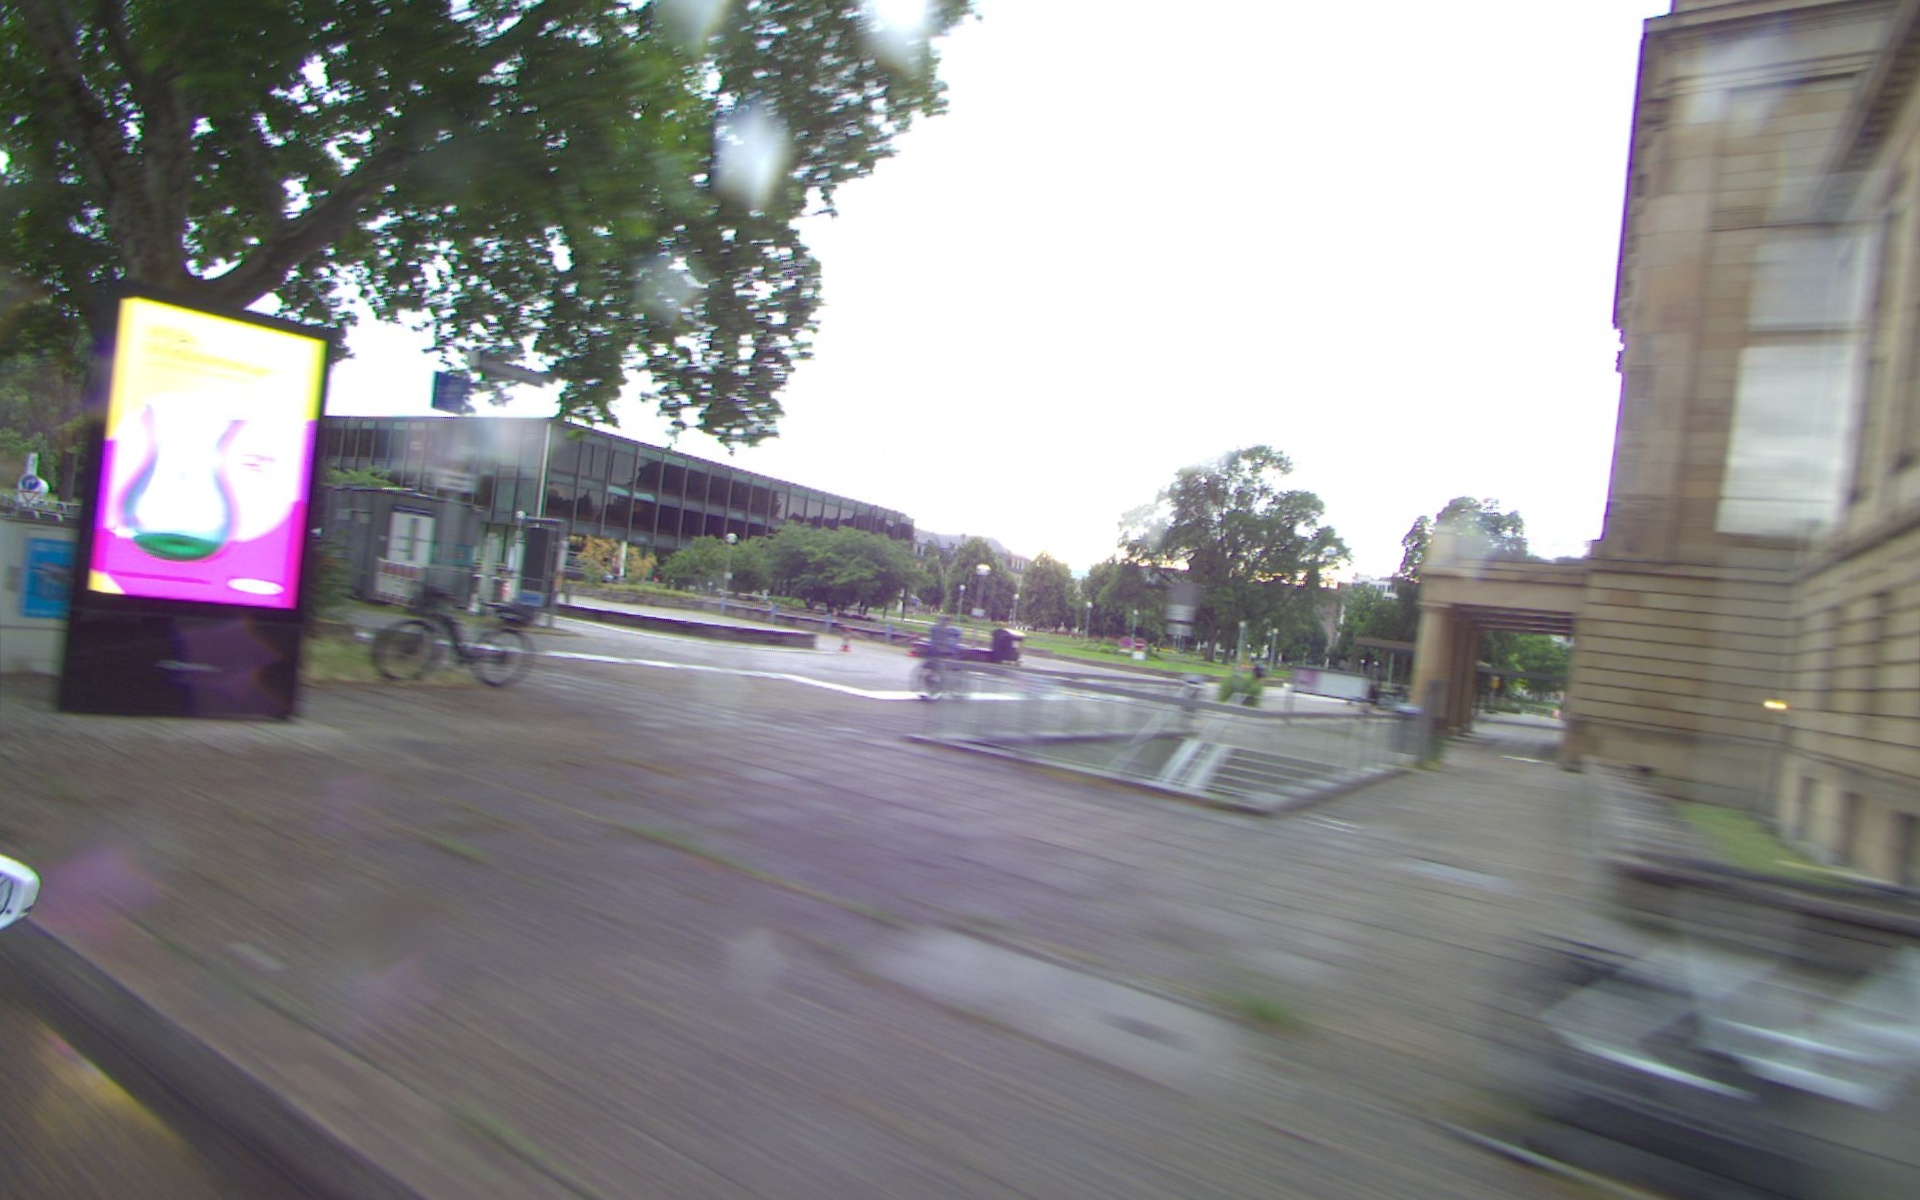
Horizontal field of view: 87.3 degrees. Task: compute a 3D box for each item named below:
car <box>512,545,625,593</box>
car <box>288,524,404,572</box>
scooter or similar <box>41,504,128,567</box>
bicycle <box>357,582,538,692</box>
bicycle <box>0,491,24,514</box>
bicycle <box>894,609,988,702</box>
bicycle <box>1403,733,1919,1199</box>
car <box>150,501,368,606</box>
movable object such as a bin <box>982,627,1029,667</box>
[{"bbox_3d":[-20.489,-1.602,52.884,2.419,1.785,5.017,7,-1,29],"label":"car"},{"bbox_3d":[-27.325,-2.282,44.871,1.630,1.620,3.988,7,0,34],"label":"car"},{"bbox_3d":[-20.296,-1.485,23.331,1.411,1.271,0.543,7,1,0],"label":"scooter or similar"},{"bbox_3d":[-5.744,0.448,11.362,0.566,1.031,1.643,6,-3,36],"label":"bicycle"},{"bbox_3d":[-51.580,-5.301,54.069,0.697,1.099,1.645,8,0,27],"label":"bicycle"},{"bbox_3d":[-0.331,1.138,20.001,0.761,1.686,2.323,6,-2,25],"label":"bicycle"},{"bbox_3d":[2.547,1.188,3.219,1.877,1.212,0.604,6,1,39],"label":"bicycle"},{"bbox_3d":[-15.992,-1.072,22.884,5.147,1.629,1.997,8,0,31],"label":"car"},{"bbox_3d":[1.877,1.924,41.344,1.230,1.475,1.490,6,1,34],"label":"movable object such as a bin"}]
